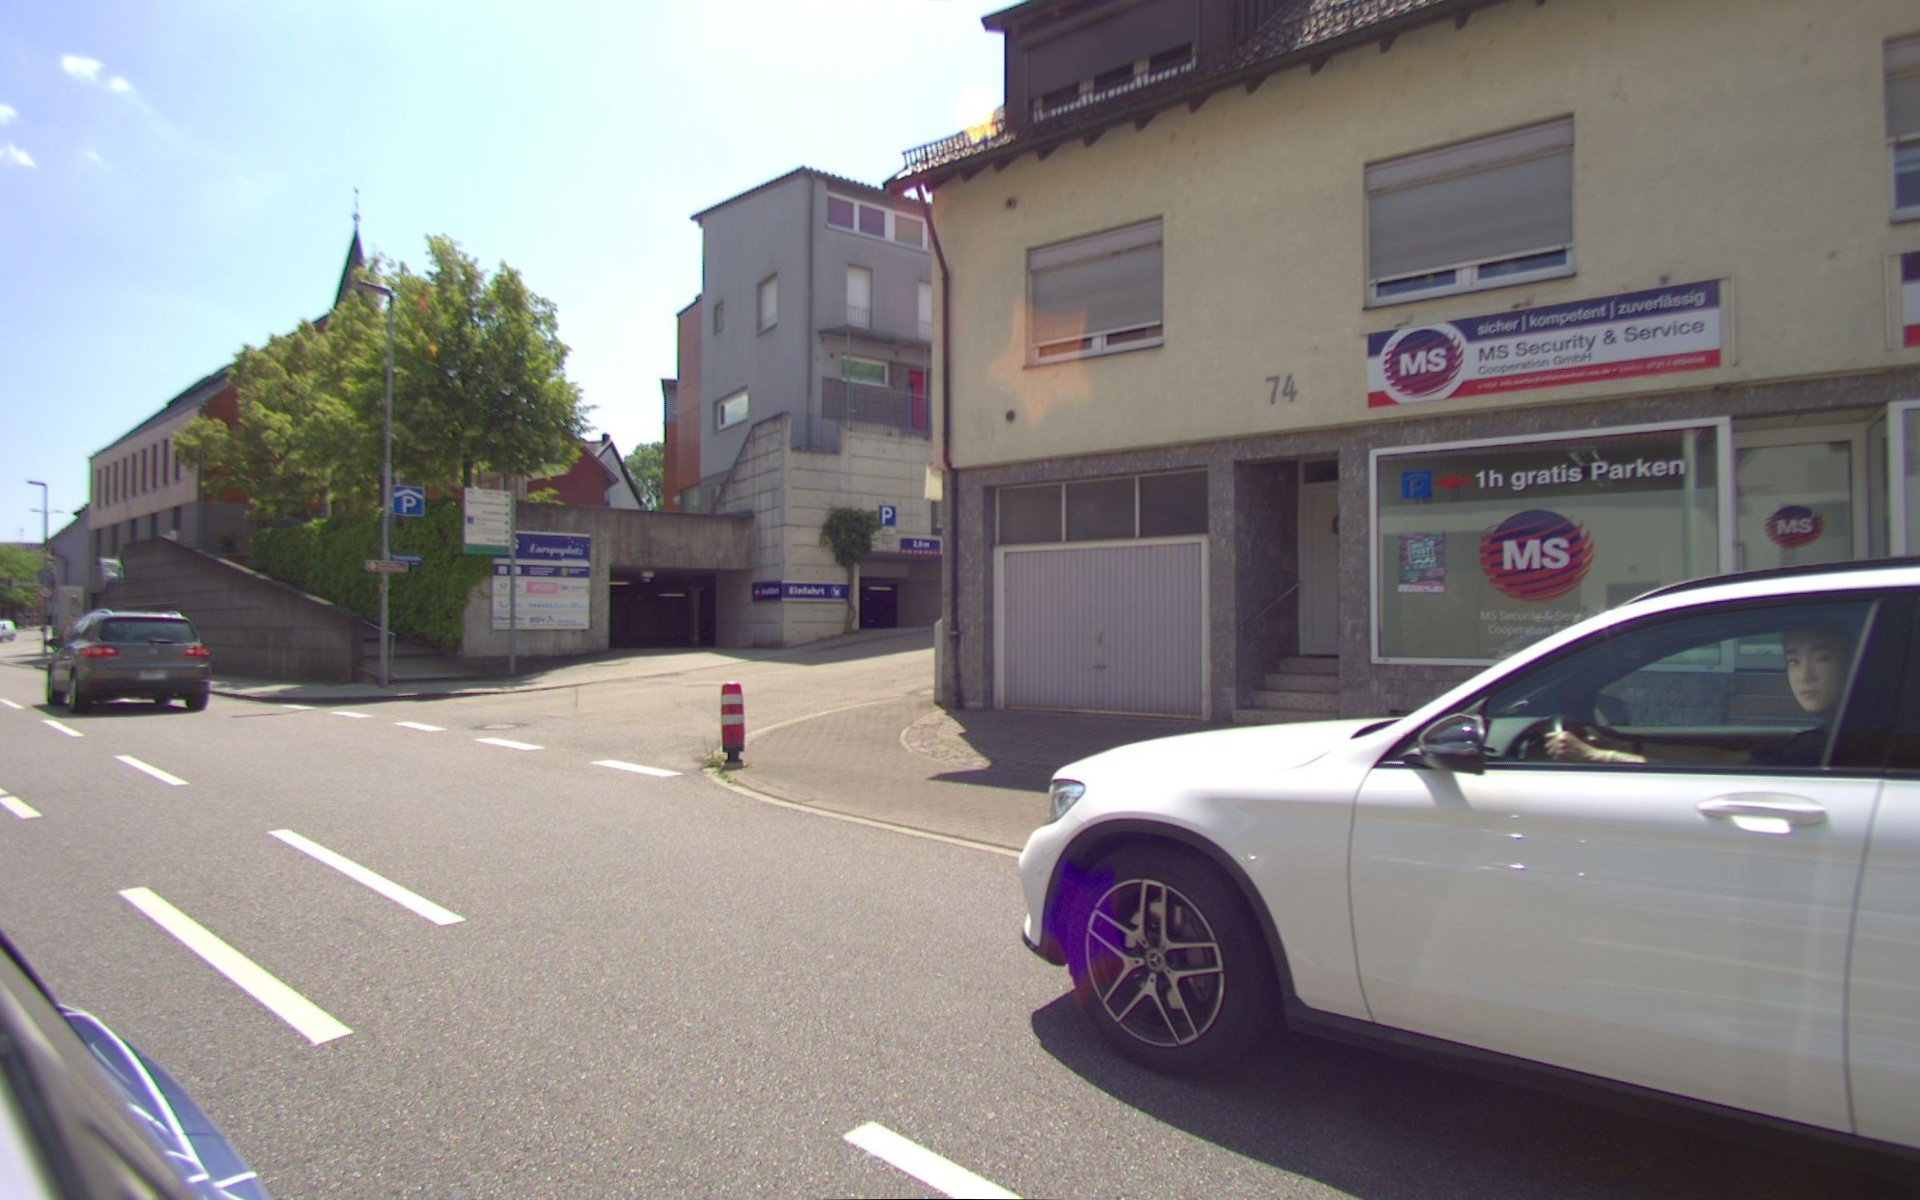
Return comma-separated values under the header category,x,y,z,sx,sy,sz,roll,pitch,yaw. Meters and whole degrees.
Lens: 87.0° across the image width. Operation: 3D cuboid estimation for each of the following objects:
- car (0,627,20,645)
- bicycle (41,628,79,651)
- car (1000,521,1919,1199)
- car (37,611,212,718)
category,x,y,z,sx,sy,sz,roll,pitch,yaw
car,-87.540,3.286,91.766,1.978,1.643,4.592,0,-2,-23
bicycle,-54.940,2.412,61.782,0.571,1.258,1.829,-4,0,4
car,2.390,0.664,2.805,4.444,1.592,1.823,-2,-3,42
car,-14.523,1.052,17.516,4.048,1.648,1.739,-2,-3,42
